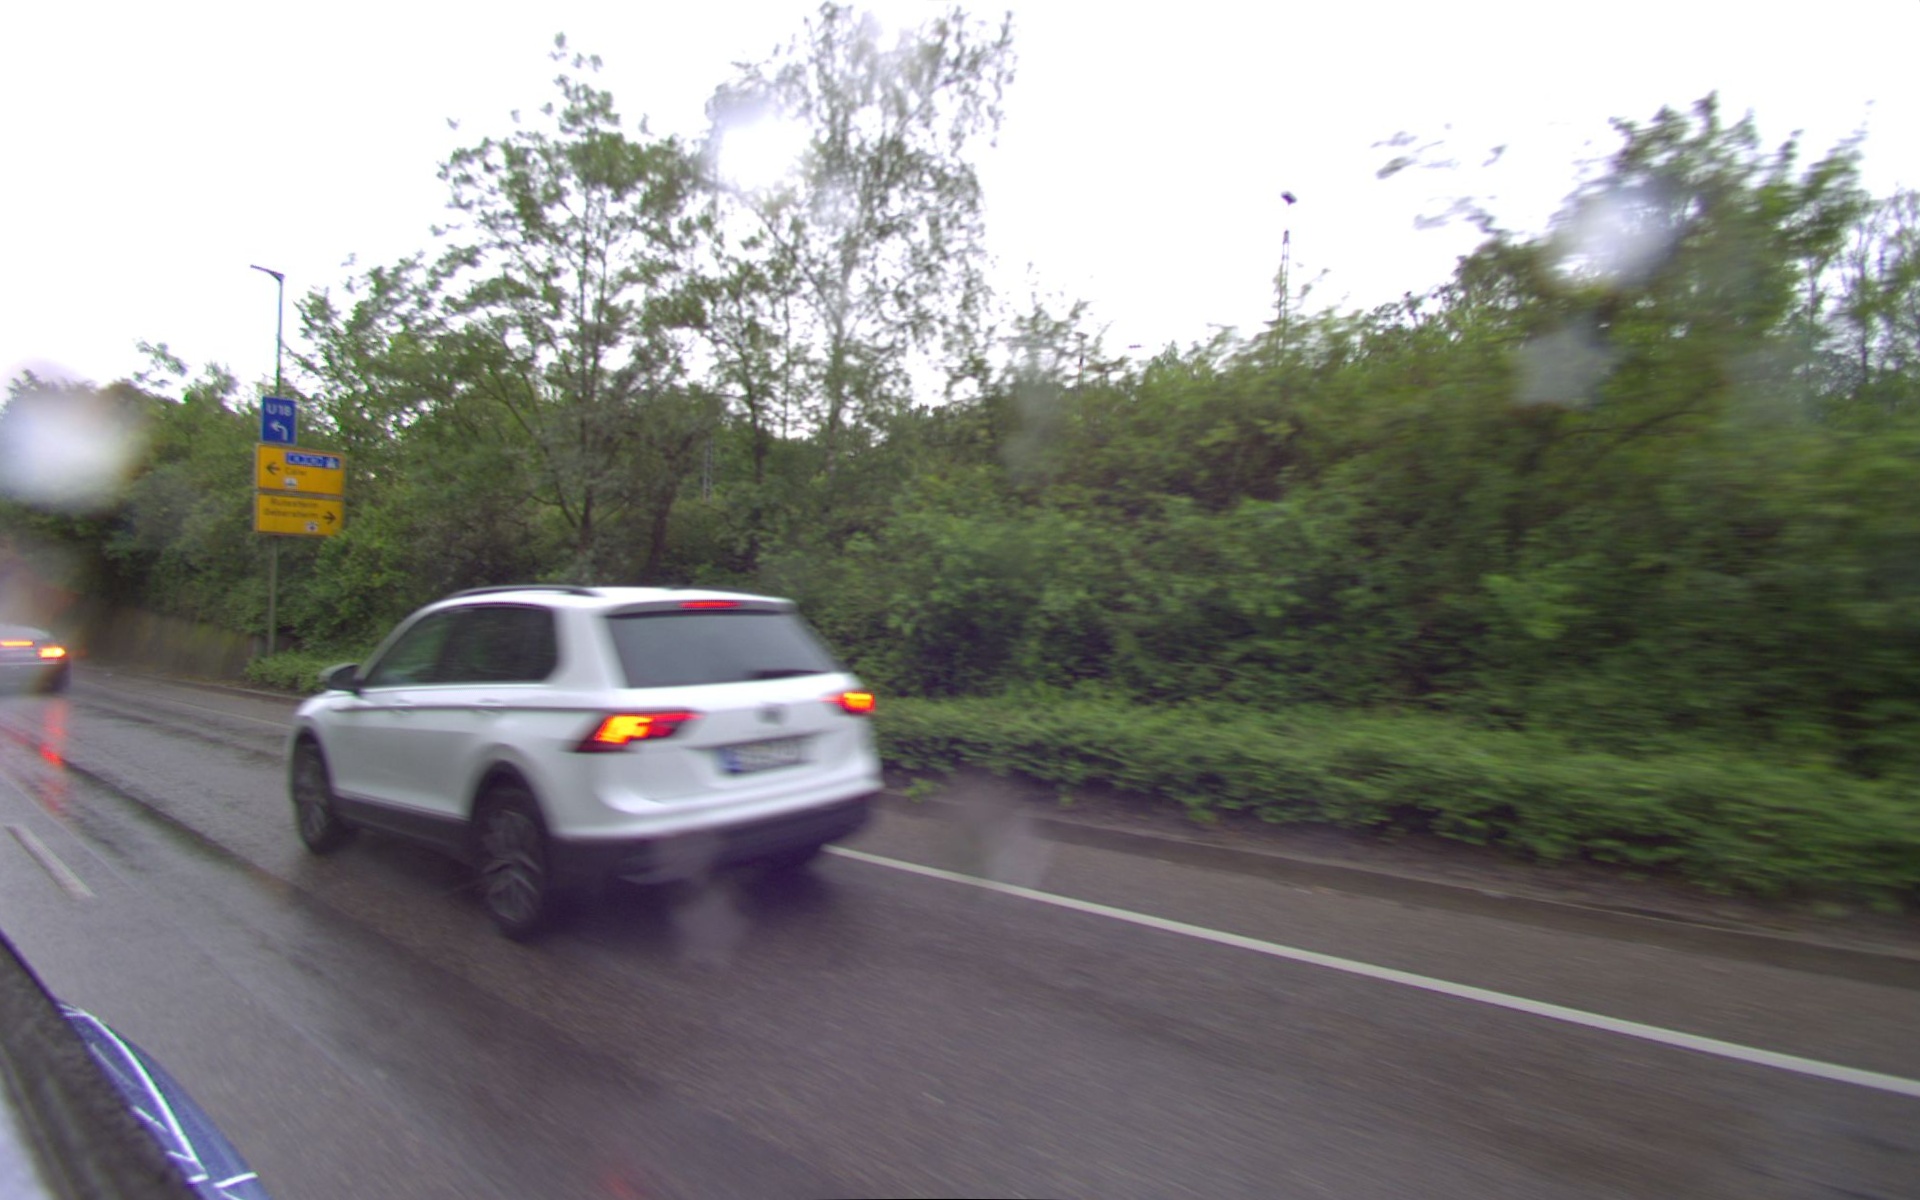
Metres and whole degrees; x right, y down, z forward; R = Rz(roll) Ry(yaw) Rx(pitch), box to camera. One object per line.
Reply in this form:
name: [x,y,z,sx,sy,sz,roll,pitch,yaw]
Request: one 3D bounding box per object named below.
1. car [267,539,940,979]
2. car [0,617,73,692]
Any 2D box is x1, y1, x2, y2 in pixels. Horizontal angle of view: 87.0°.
car: [-2.243,0.616,5.765,4.090,1.627,1.804,-1,-1,40]
car: [-20.205,1.099,21.115,4.373,1.460,1.846,-1,-2,39]
